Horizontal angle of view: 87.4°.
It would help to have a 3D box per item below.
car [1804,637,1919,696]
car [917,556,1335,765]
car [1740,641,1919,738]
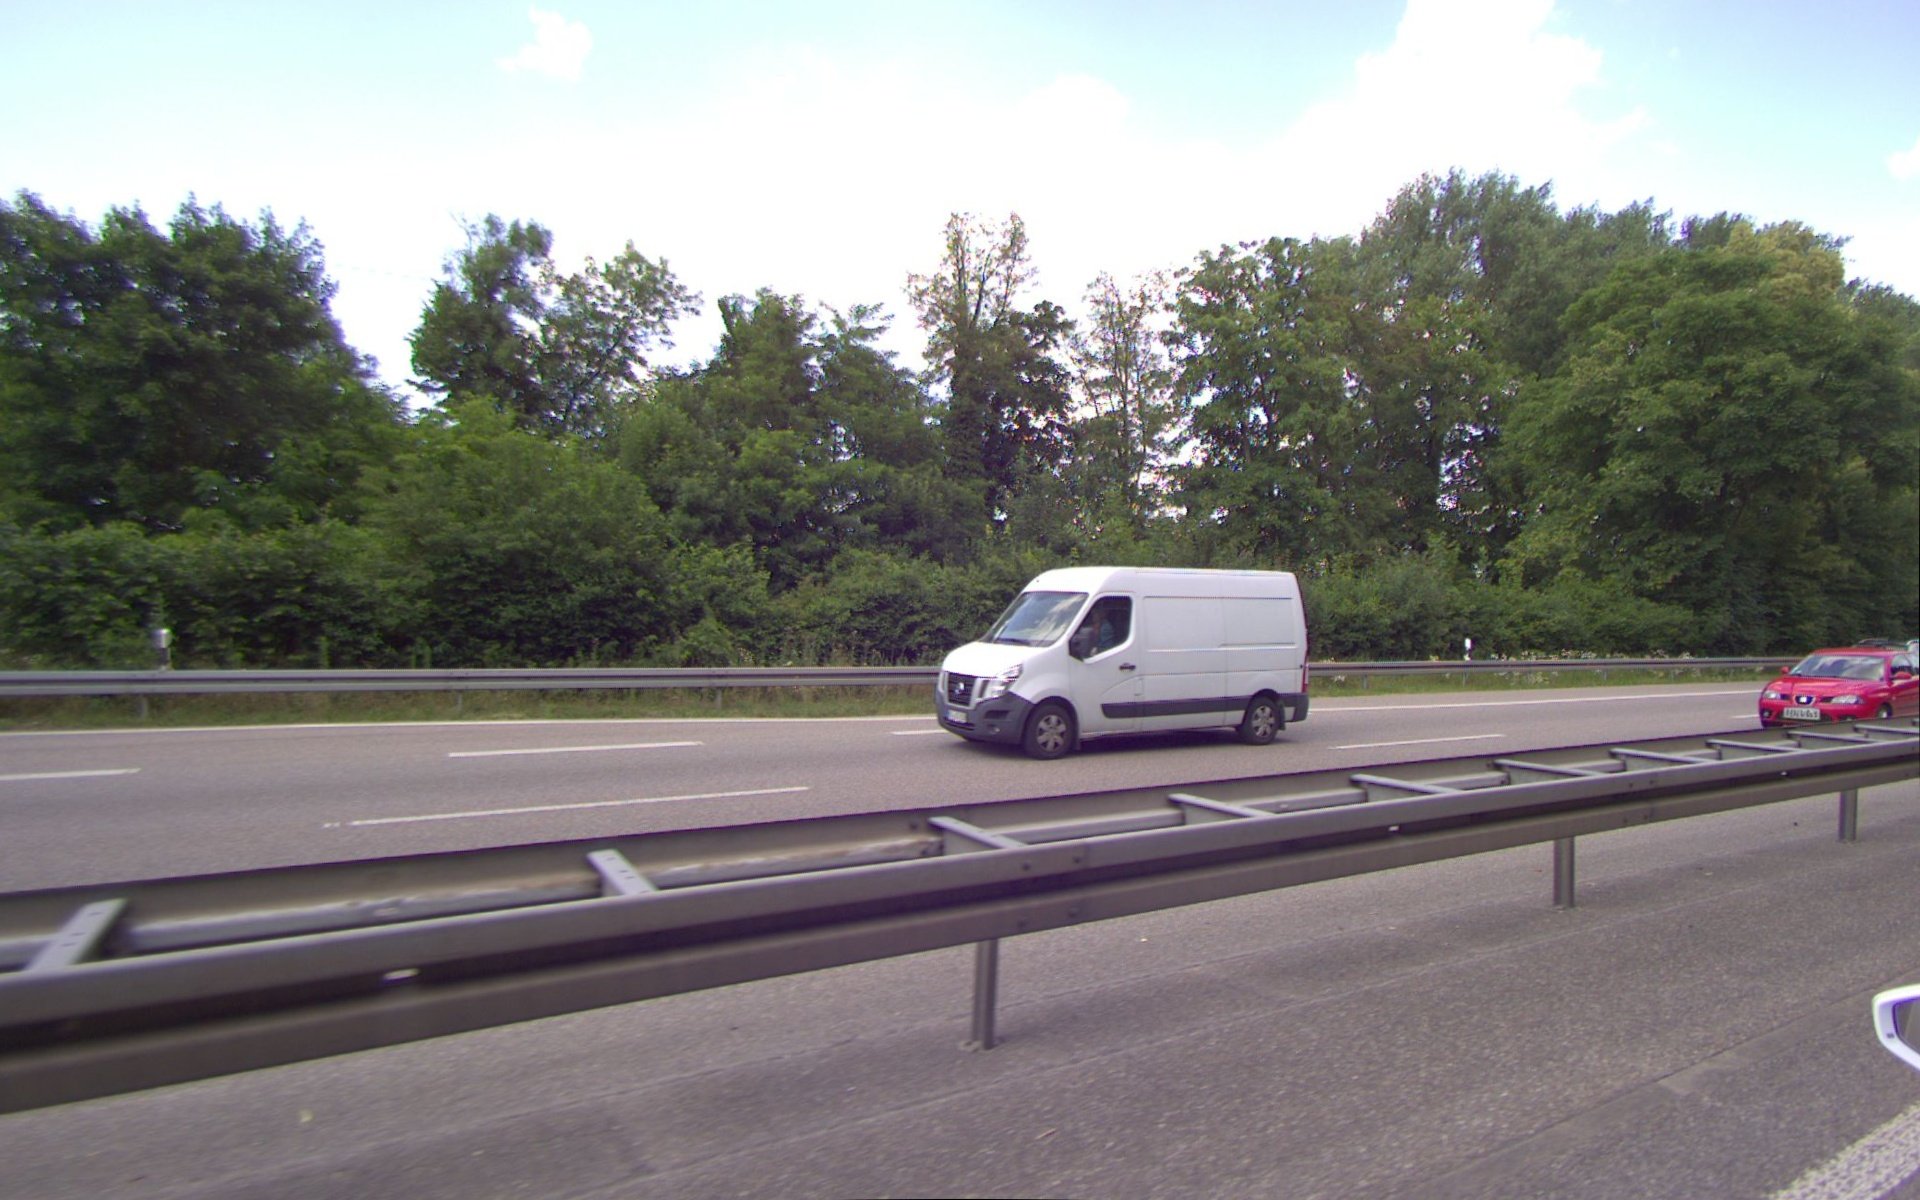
[{"bbox_3d":[26.181,1.838,28.636,4.514,1.497,1.778,1,0,-29],"label":"car"},{"bbox_3d":[2.447,0.767,14.175,5.760,2.455,2.102,1,0,-29],"label":"car"},{"bbox_3d":[15.695,1.498,17.678,4.078,1.474,1.671,1,0,-29],"label":"car"}]
